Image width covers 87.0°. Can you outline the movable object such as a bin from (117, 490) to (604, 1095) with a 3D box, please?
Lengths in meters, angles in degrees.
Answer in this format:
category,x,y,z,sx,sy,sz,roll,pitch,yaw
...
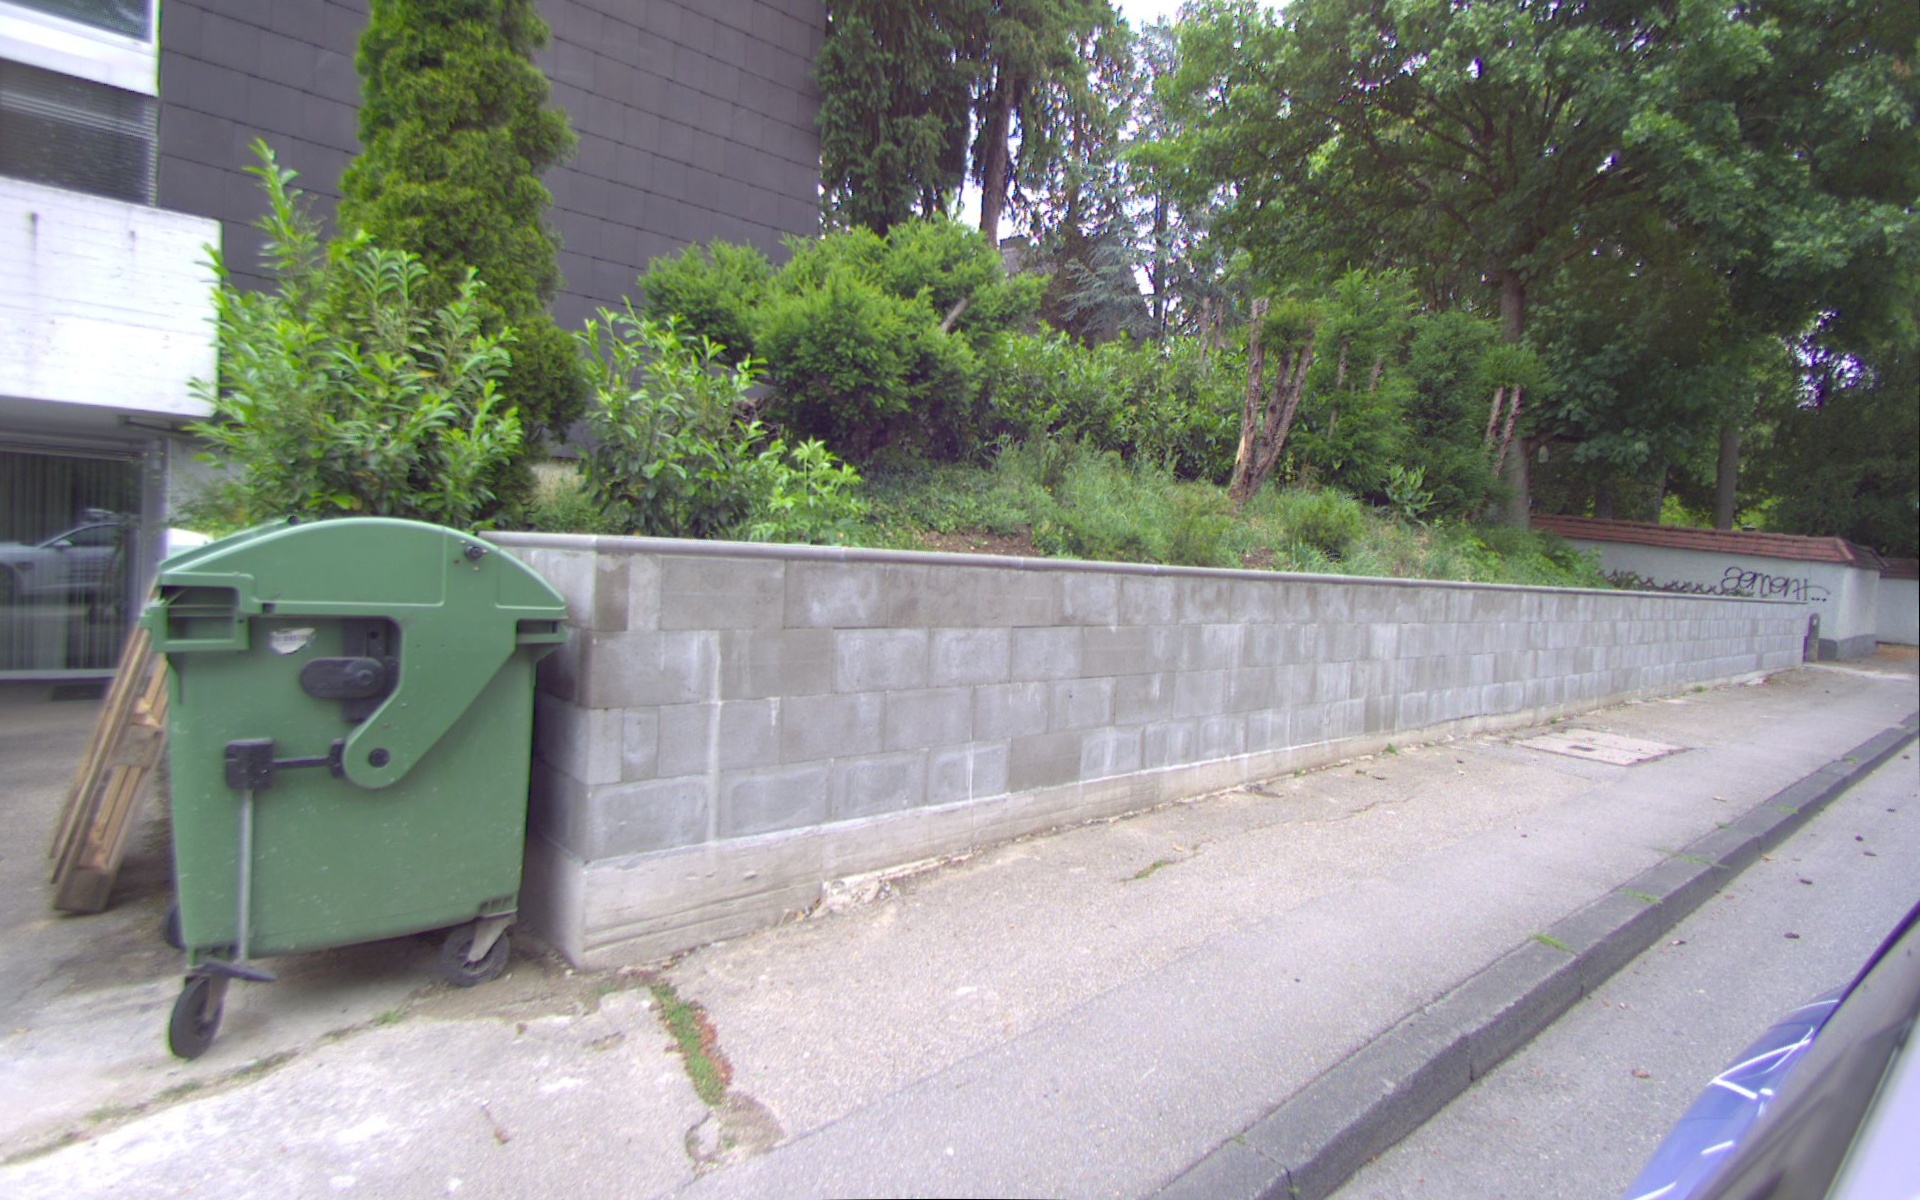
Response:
category,x,y,z,sx,sy,sz,roll,pitch,yaw
movable object such as a bin,-1.994,0.420,3.305,1.160,1.468,1.303,0,4,-40
